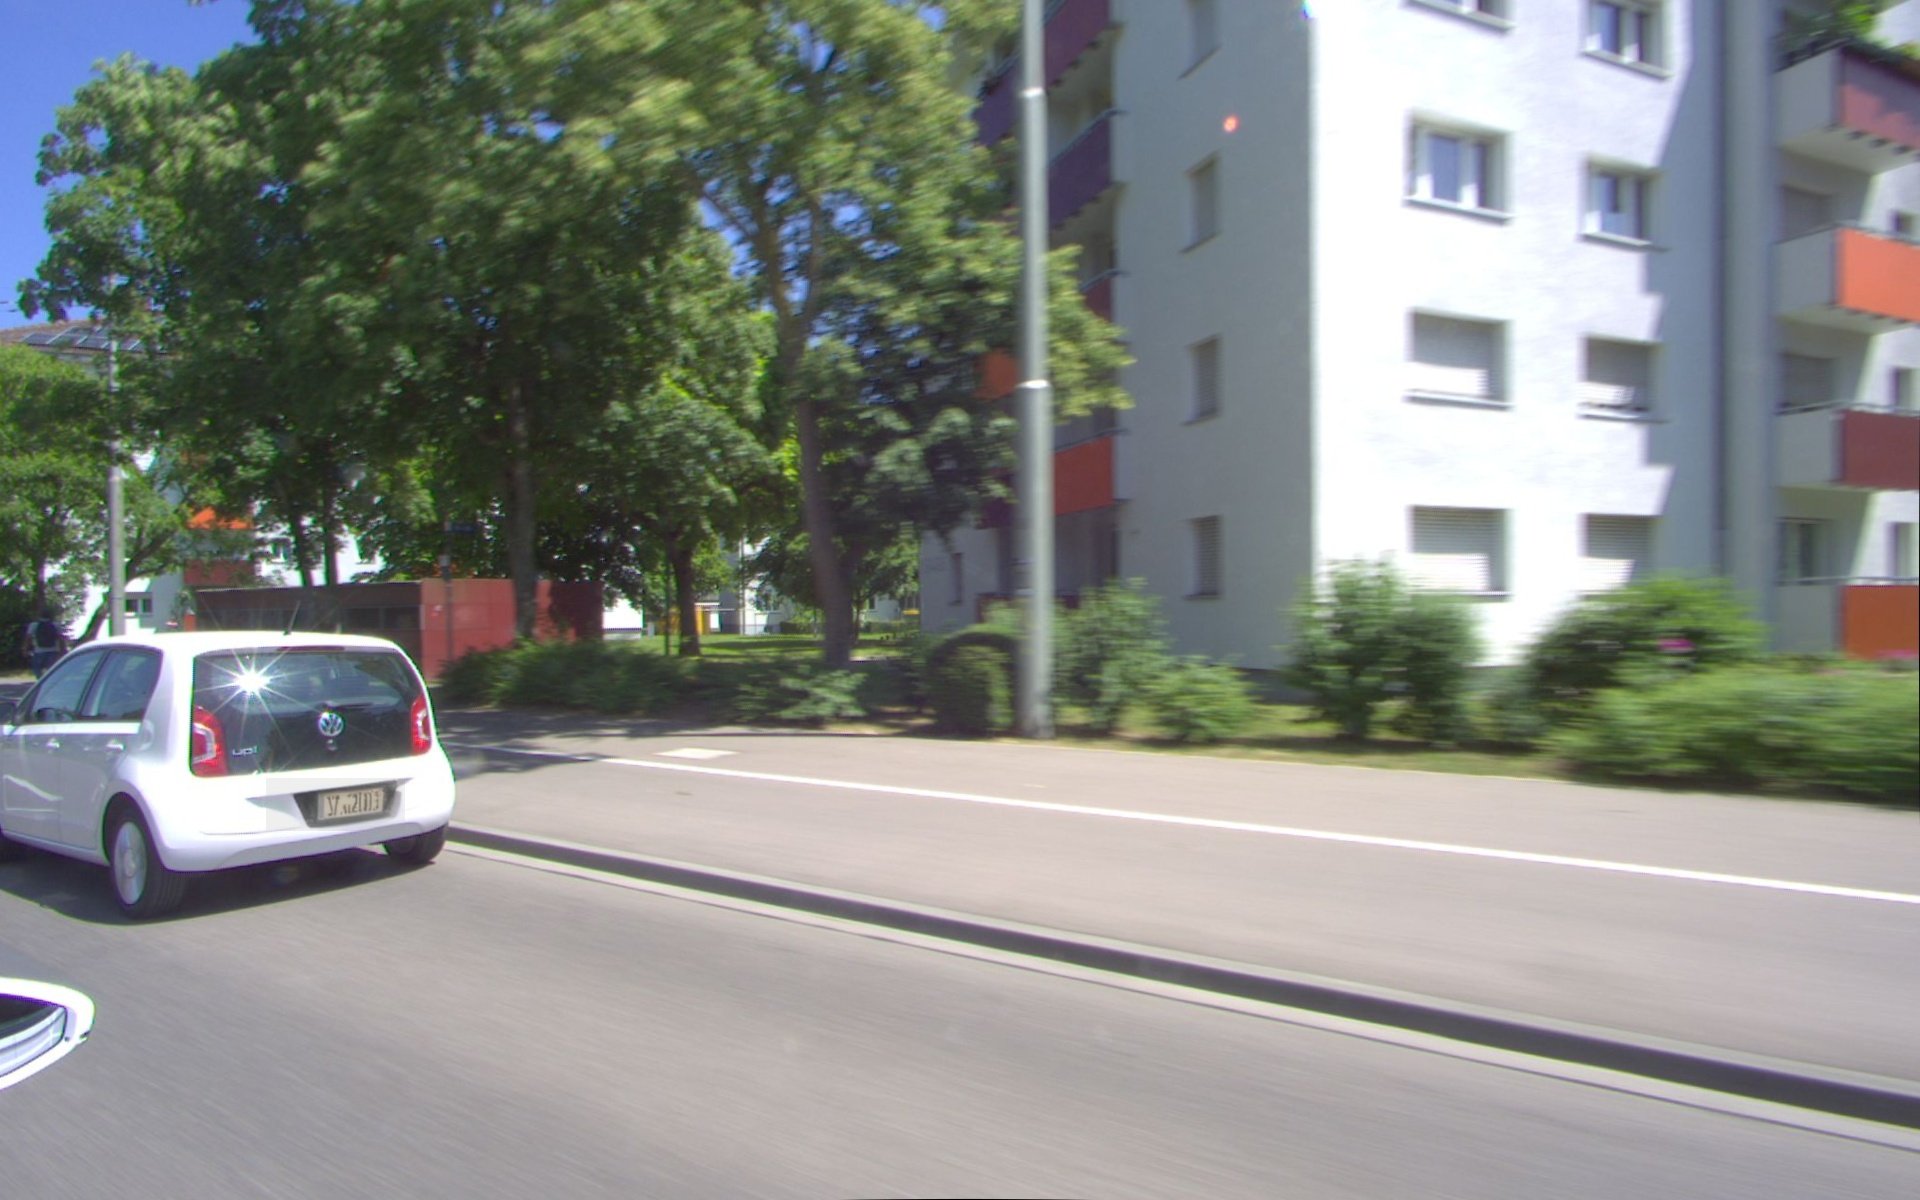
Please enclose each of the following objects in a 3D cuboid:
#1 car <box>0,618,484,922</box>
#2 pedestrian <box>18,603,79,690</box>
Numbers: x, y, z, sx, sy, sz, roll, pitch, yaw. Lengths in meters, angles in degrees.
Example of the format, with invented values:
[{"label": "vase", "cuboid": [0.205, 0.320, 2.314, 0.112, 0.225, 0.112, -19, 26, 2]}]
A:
[{"label": "car", "cuboid": [-5.009, 0.876, 6.592, 3.800, 1.468, 1.656, -1, -2, 33]}, {"label": "pedestrian", "cuboid": [-17.929, 0.896, 19.699, 0.844, 1.665, 0.667, -1, 0, 31]}]
